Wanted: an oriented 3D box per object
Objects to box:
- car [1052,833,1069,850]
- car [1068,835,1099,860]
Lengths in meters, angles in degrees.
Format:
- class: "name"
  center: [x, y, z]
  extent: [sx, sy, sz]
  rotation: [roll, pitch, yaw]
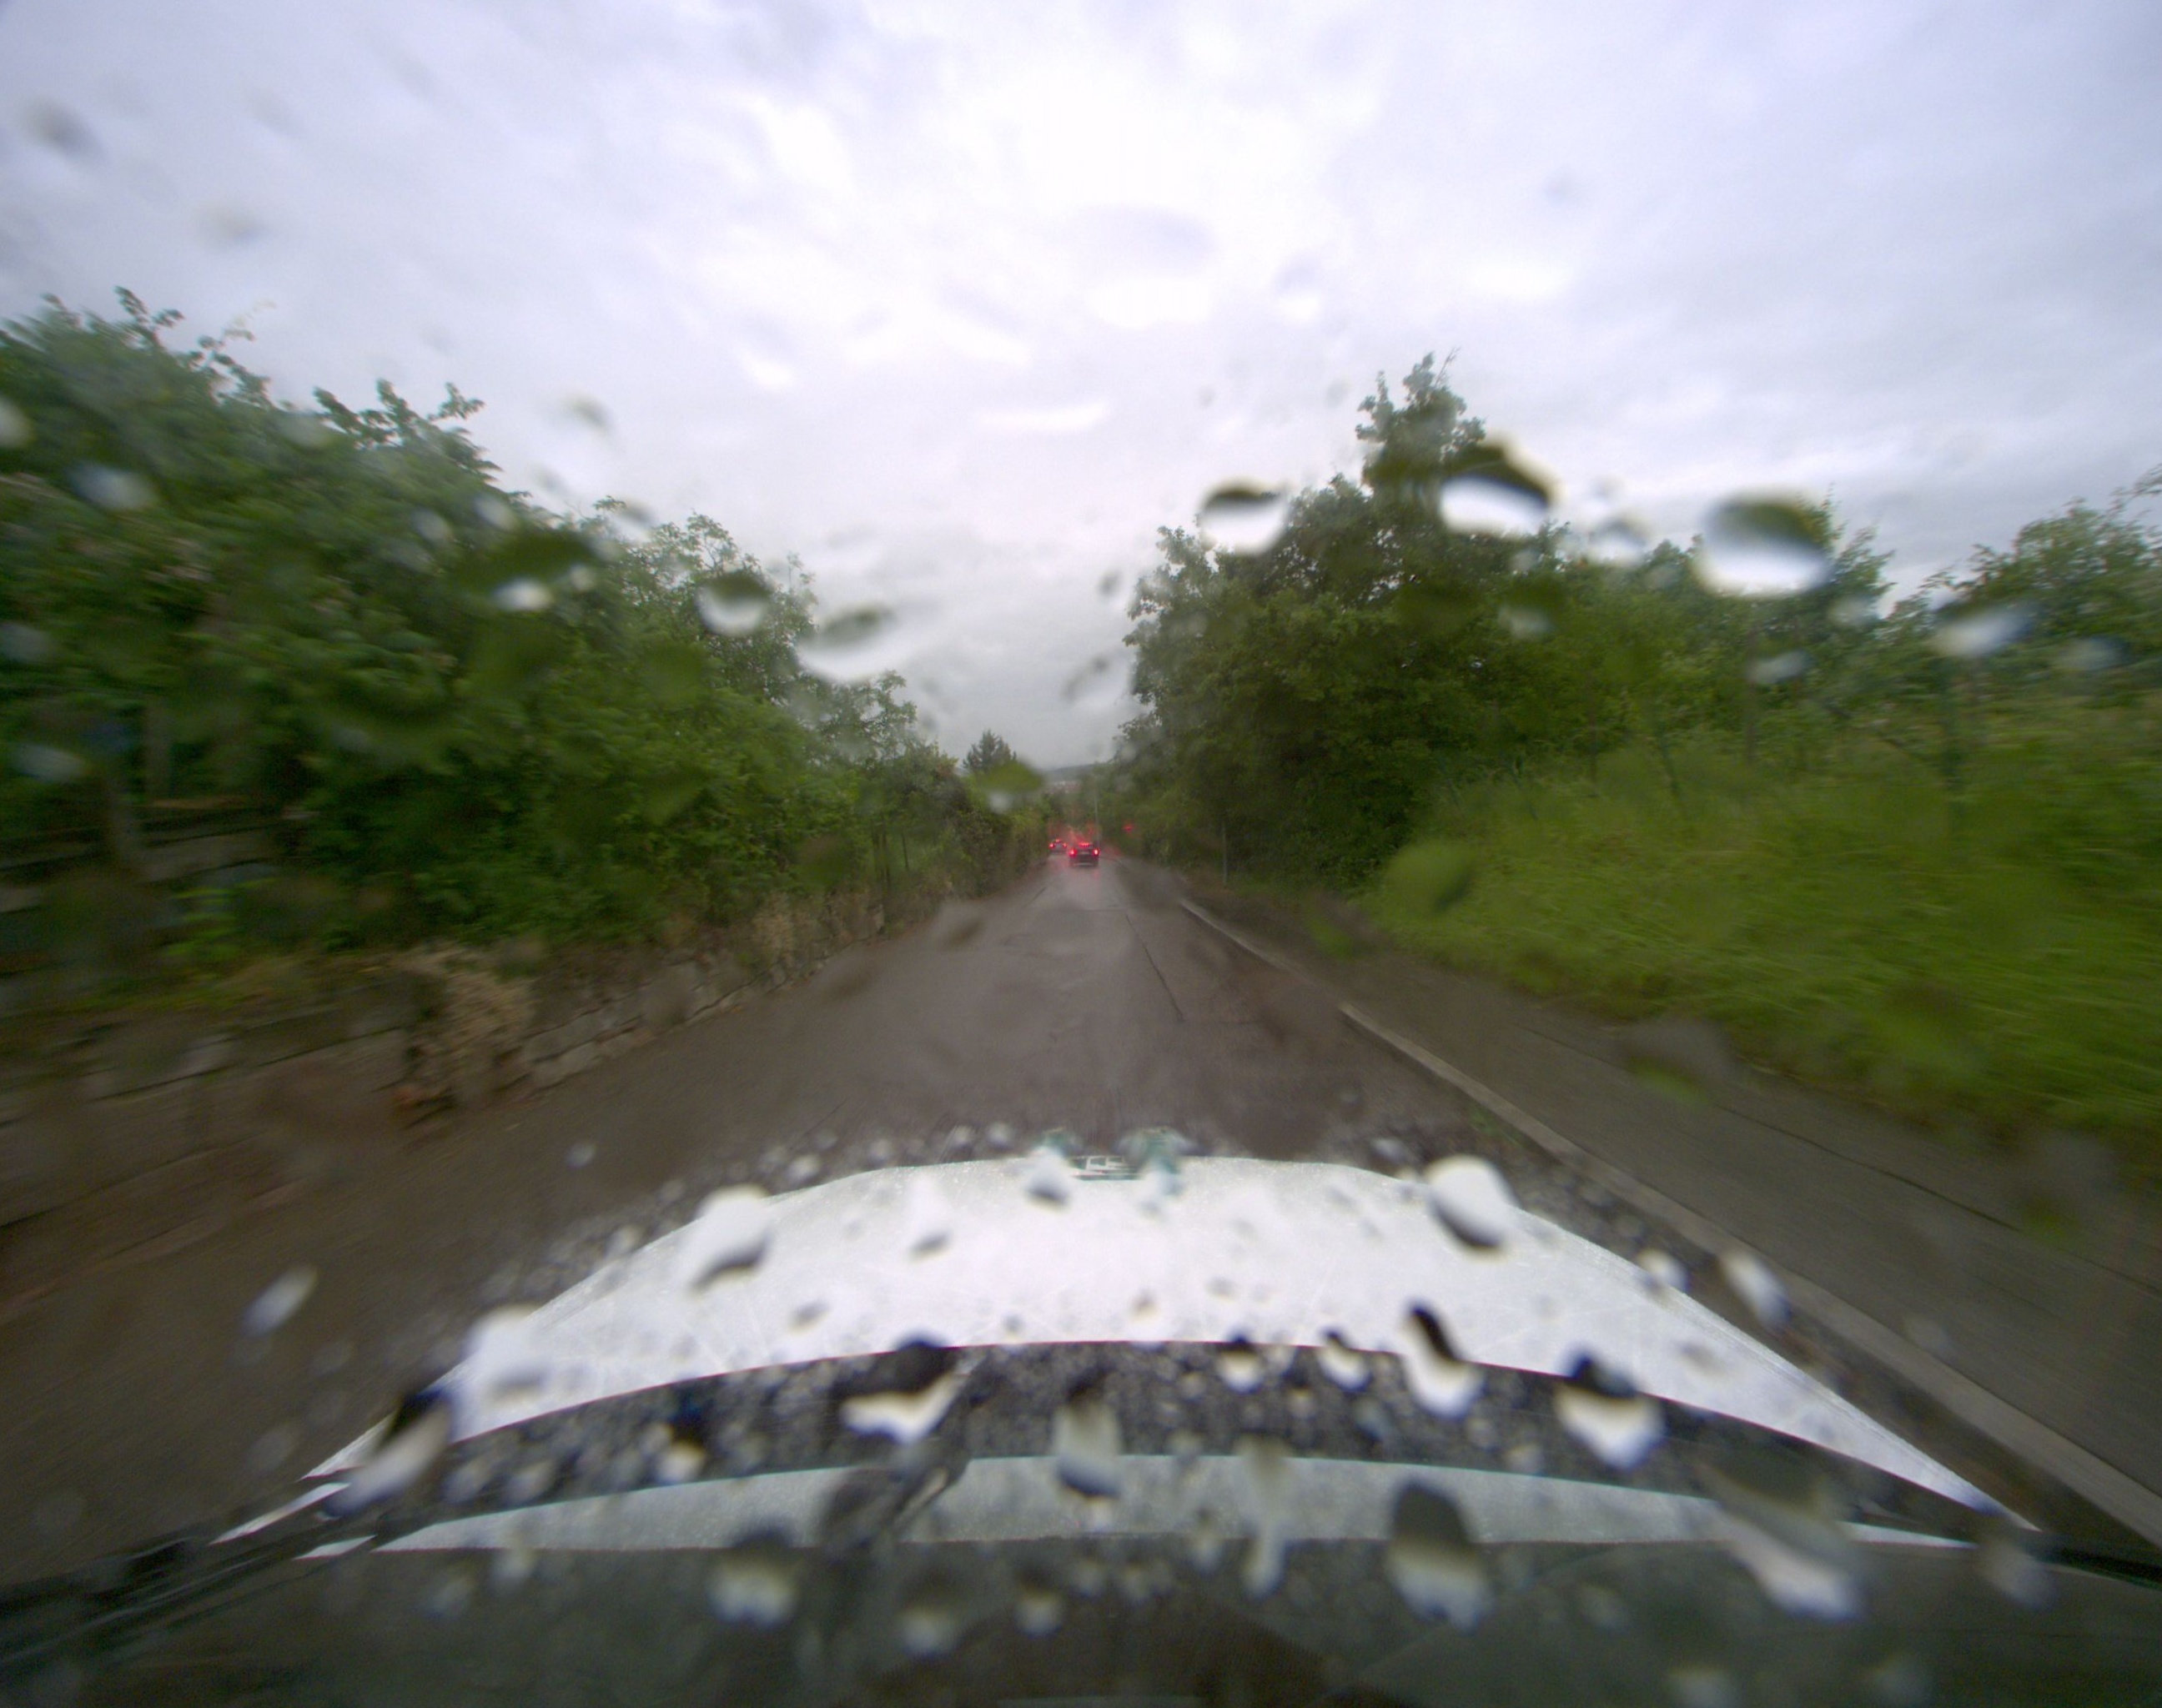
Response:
- class: "car"
  center: [-2.186, -1.350, 86.591]
  extent: [1.672, 1.564, 3.795]
  rotation: [-1, 3, 0]
- class: "car"
  center: [0.151, -0.437, 51.019]
  extent: [1.829, 1.463, 4.001]
  rotation: [0, 2, 0]
